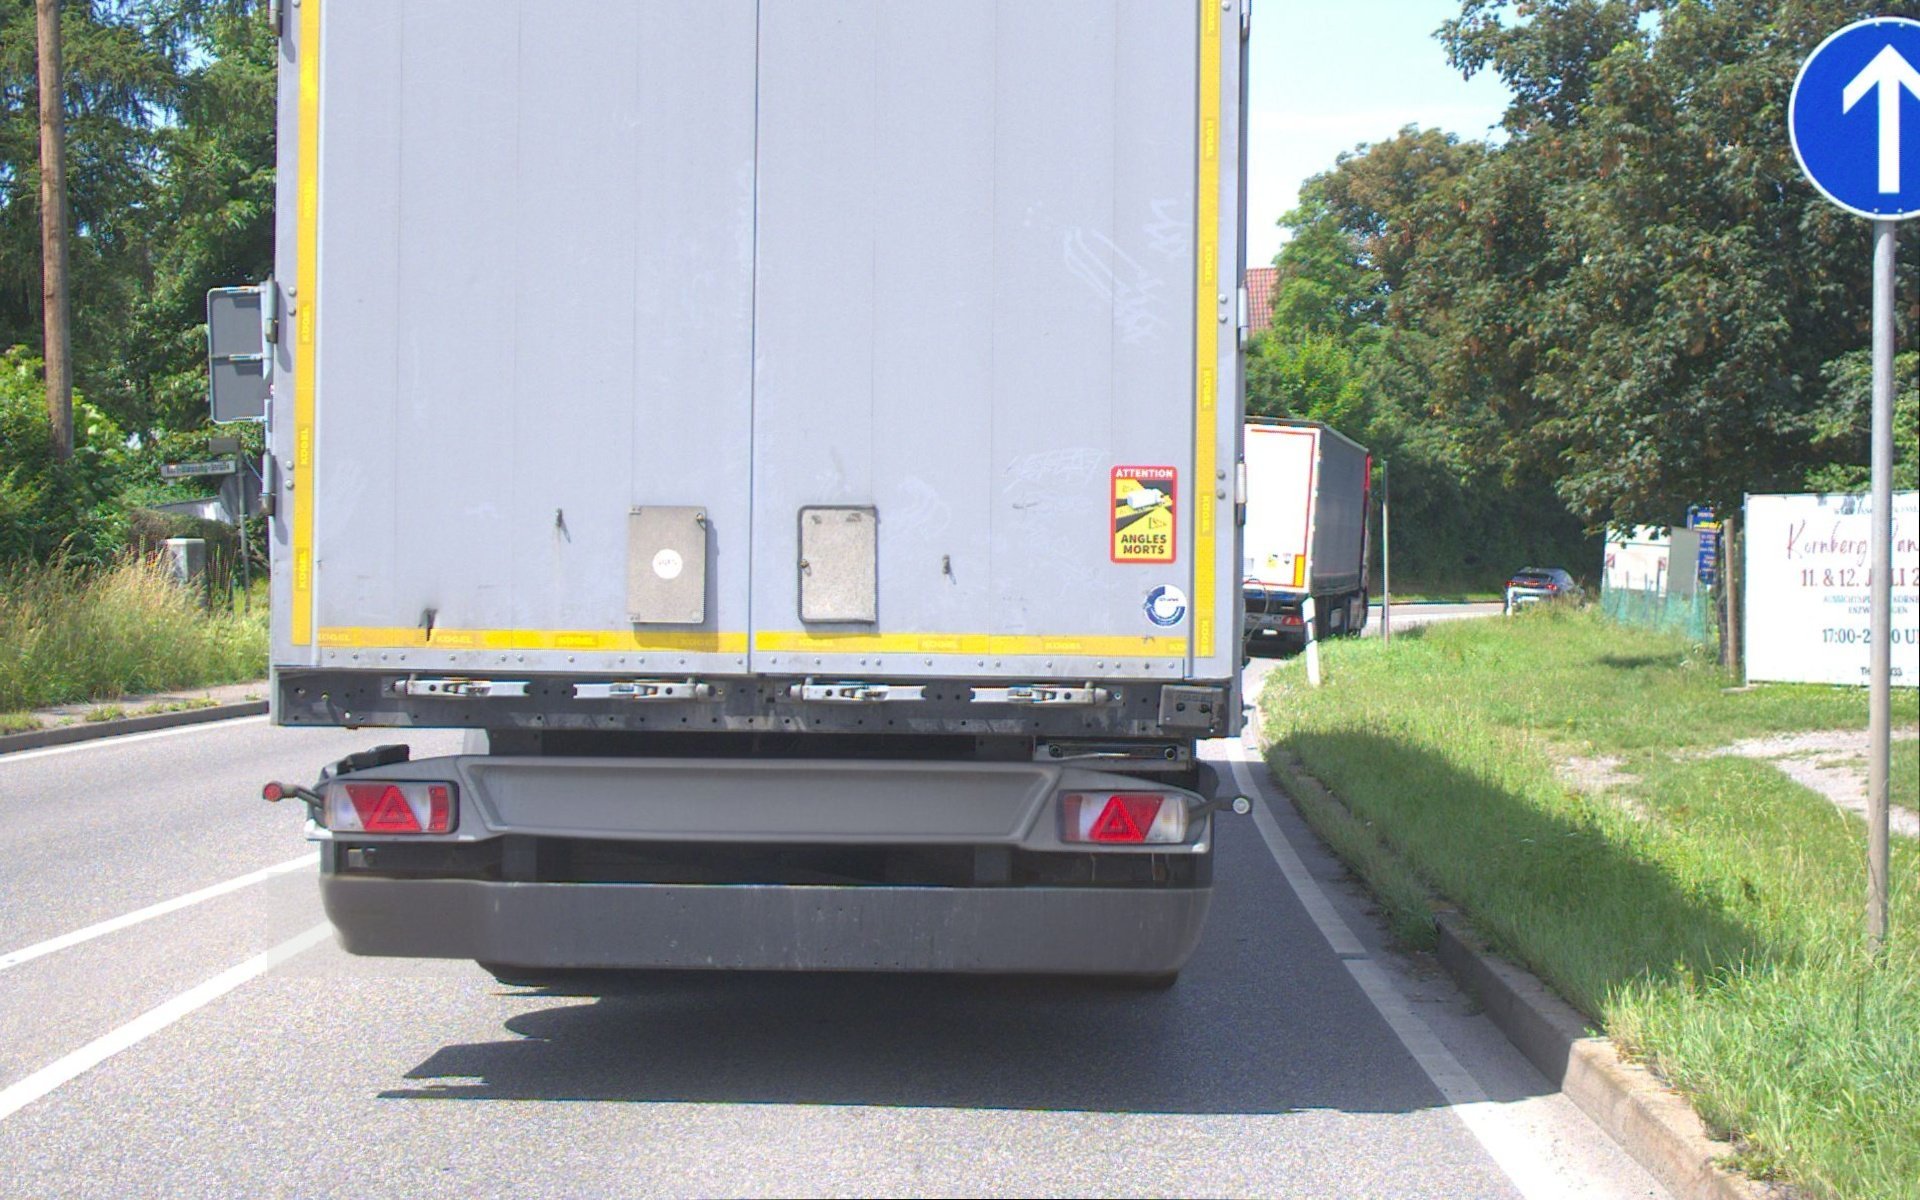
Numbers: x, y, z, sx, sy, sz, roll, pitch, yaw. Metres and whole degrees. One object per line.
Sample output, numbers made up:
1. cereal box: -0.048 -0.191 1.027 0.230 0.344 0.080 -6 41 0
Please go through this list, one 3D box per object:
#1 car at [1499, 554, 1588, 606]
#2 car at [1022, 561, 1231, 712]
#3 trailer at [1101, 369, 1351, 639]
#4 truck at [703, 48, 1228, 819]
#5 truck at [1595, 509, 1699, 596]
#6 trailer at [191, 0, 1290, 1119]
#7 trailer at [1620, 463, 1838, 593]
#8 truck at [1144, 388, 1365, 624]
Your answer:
1. car: 17.489 -0.621 102.949 1.843 1.481 3.996 1 1 21
2. car: 1.876 0.355 37.651 1.994 1.525 3.999 1 1 7
3. trailer: 5.159 -1.766 63.871 3.892 4.505 12.710 0 1 8
4. truck: 0.256 -0.983 21.712 2.746 4.151 6.142 1 1 5
5. truck: 22.864 -1.611 114.226 2.423 2.828 5.406 1 1 22
6. trailer: -0.209 -0.941 14.724 2.787 4.191 12.110 0 1 3
7. trailer: 29.321 -2.764 130.152 5.186 4.612 15.876 1 2 23
8. truck: 6.128 -1.874 70.349 3.938 4.559 7.149 0 1 10
